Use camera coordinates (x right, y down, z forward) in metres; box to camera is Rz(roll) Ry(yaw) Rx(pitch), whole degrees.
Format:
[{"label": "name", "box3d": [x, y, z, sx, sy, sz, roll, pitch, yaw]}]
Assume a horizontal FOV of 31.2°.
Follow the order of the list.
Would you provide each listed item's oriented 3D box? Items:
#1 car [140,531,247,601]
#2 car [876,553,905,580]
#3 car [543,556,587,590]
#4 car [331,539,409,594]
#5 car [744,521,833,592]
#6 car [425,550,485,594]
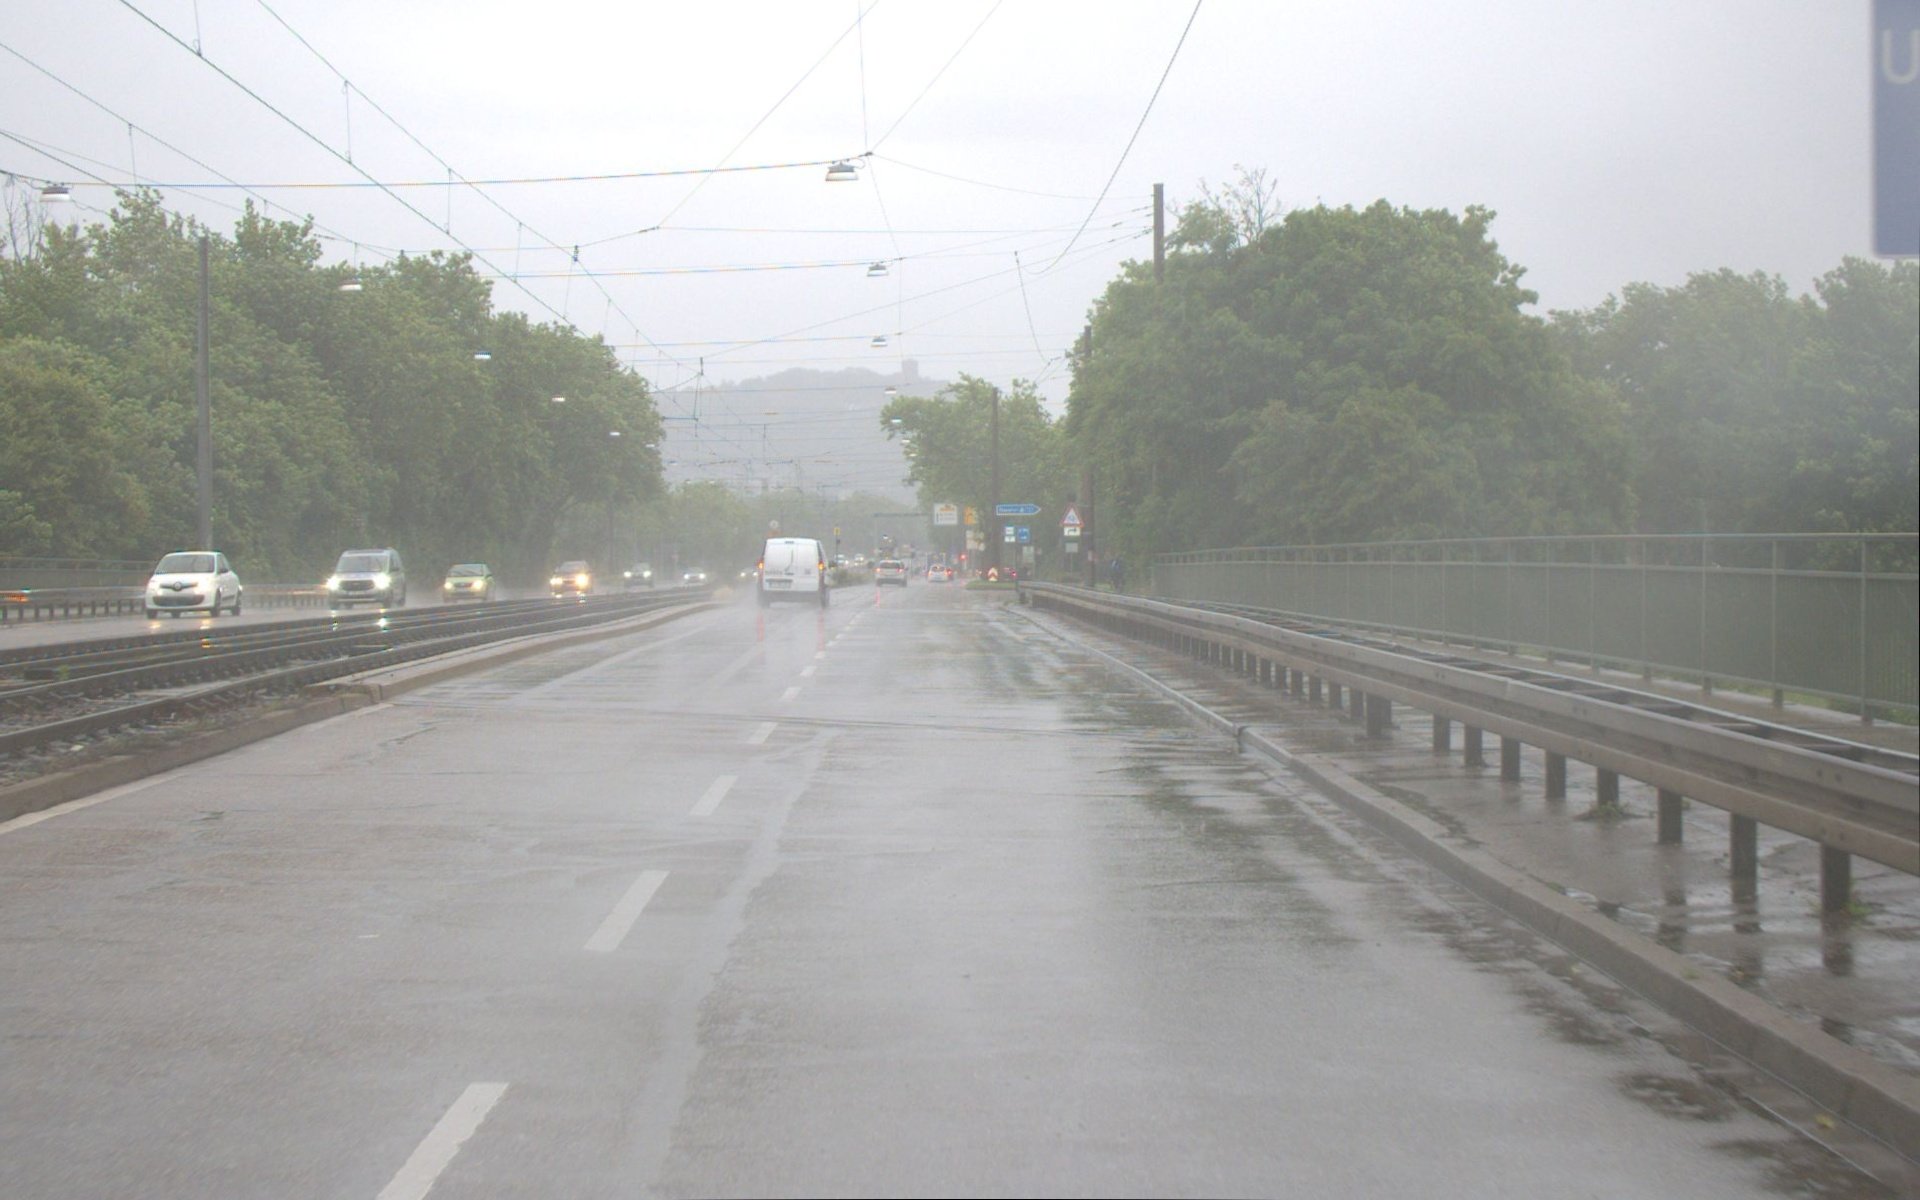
[{"label": "car", "box3d": [-17.968, -0.823, 80.710, 1.743, 1.503, 3.700, 1, 2, -1]}, {"label": "car", "box3d": [-4.281, -2.052, 211.175, 1.743, 1.503, 3.700, 1, 2, -1]}, {"label": "car", "box3d": [-19.226, -1.329, 167.429, 1.743, 1.503, 3.700, 1, 2, -1]}, {"label": "car", "box3d": [-17.626, -1.027, 102.763, 1.743, 1.503, 3.700, 1, 2, -1]}, {"label": "car", "box3d": [-4.335, -1.129, 87.475, 1.989, 1.678, 3.740, 1, 2, 1]}, {"label": "car", "box3d": [-18.861, -1.058, 128.477, 1.743, 1.503, 3.700, 1, 2, -1]}]
